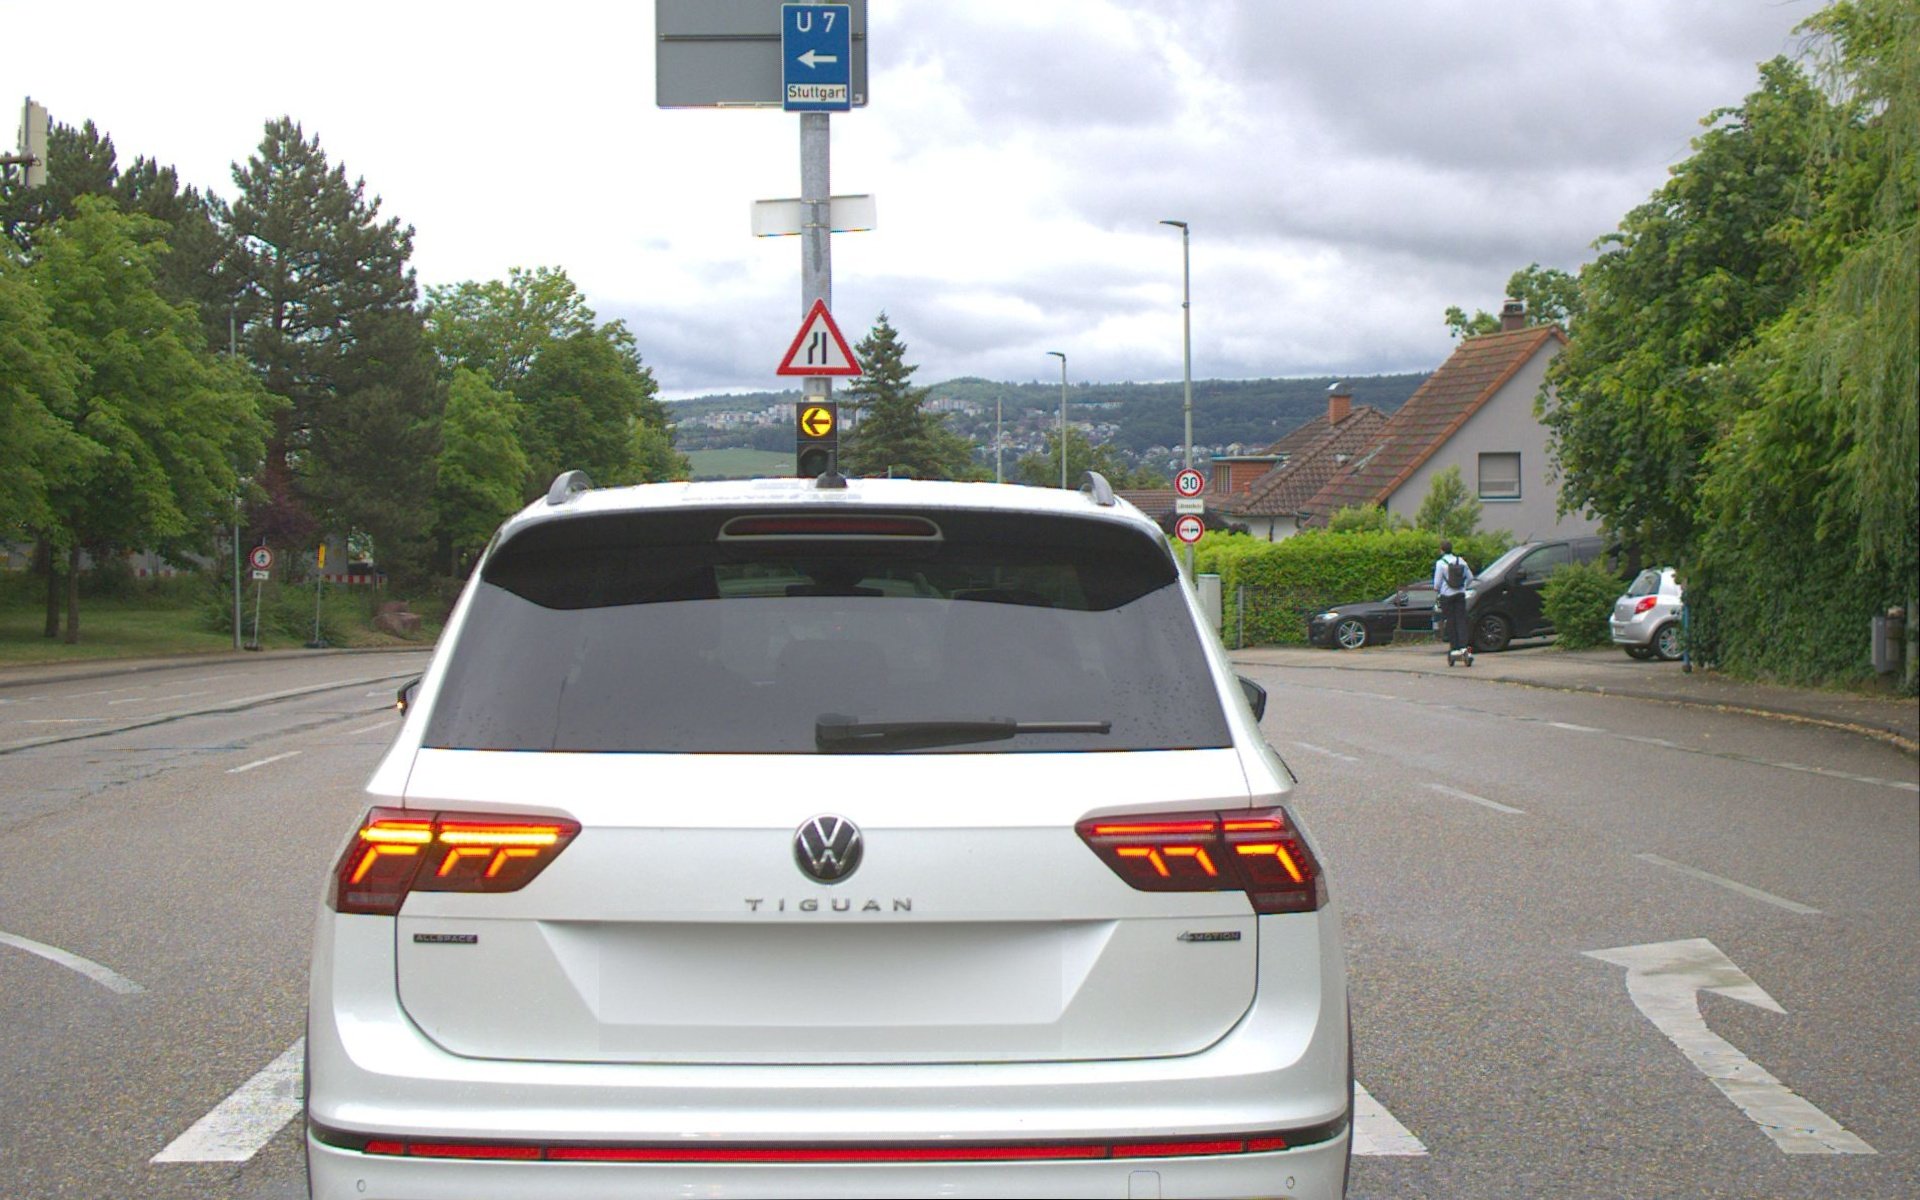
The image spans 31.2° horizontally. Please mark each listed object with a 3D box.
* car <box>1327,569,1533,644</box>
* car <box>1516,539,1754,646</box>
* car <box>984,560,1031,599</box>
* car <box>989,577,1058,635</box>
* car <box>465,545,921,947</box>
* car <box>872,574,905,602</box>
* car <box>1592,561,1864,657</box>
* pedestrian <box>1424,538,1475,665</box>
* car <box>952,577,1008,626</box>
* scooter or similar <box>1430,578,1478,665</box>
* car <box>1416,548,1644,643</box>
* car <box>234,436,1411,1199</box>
[{"bbox_3d":[8.960,0.134,65.671,3.687,1.365,1.519,0,-1,-2],"label":"car"},{"bbox_3d":[11.443,-0.148,58.387,3.627,1.740,1.708,-1,1,-4],"label":"car"},{"bbox_3d":[1.954,-0.862,141.862,1.850,1.569,4.000,-1,1,0],"label":"car"},{"bbox_3d":[1.788,0.153,98.315,1.850,1.569,4.000,1,1,0],"label":"car"},{"bbox_3d":[-1.085,0.557,15.669,1.798,1.584,3.926,-1,1,-1],"label":"car"},{"bbox_3d":[-4.101,-0.686,198.421,1.850,1.569,4.000,-1,1,0],"label":"car"},{"bbox_3d":[11.820,0.141,53.022,3.713,1.390,1.729,-1,0,-7],"label":"car"},{"bbox_3d":[7.757,0.014,54.528,0.655,1.995,0.718,0,1,-4],"label":"pedestrian"},{"bbox_3d":[0.665,0.037,116.459,1.850,1.569,4.000,-1,1,0],"label":"car"},{"bbox_3d":[7.844,0.327,54.611,0.461,1.356,1.385,0,1,-4],"label":"scooter or similar"},{"bbox_3d":[10.048,-0.089,60.752,3.627,1.620,1.791,-1,0,-4],"label":"car"},{"bbox_3d":[-0.266,0.580,7.334,1.763,1.690,4.273,1,1,-2],"label":"car"}]
